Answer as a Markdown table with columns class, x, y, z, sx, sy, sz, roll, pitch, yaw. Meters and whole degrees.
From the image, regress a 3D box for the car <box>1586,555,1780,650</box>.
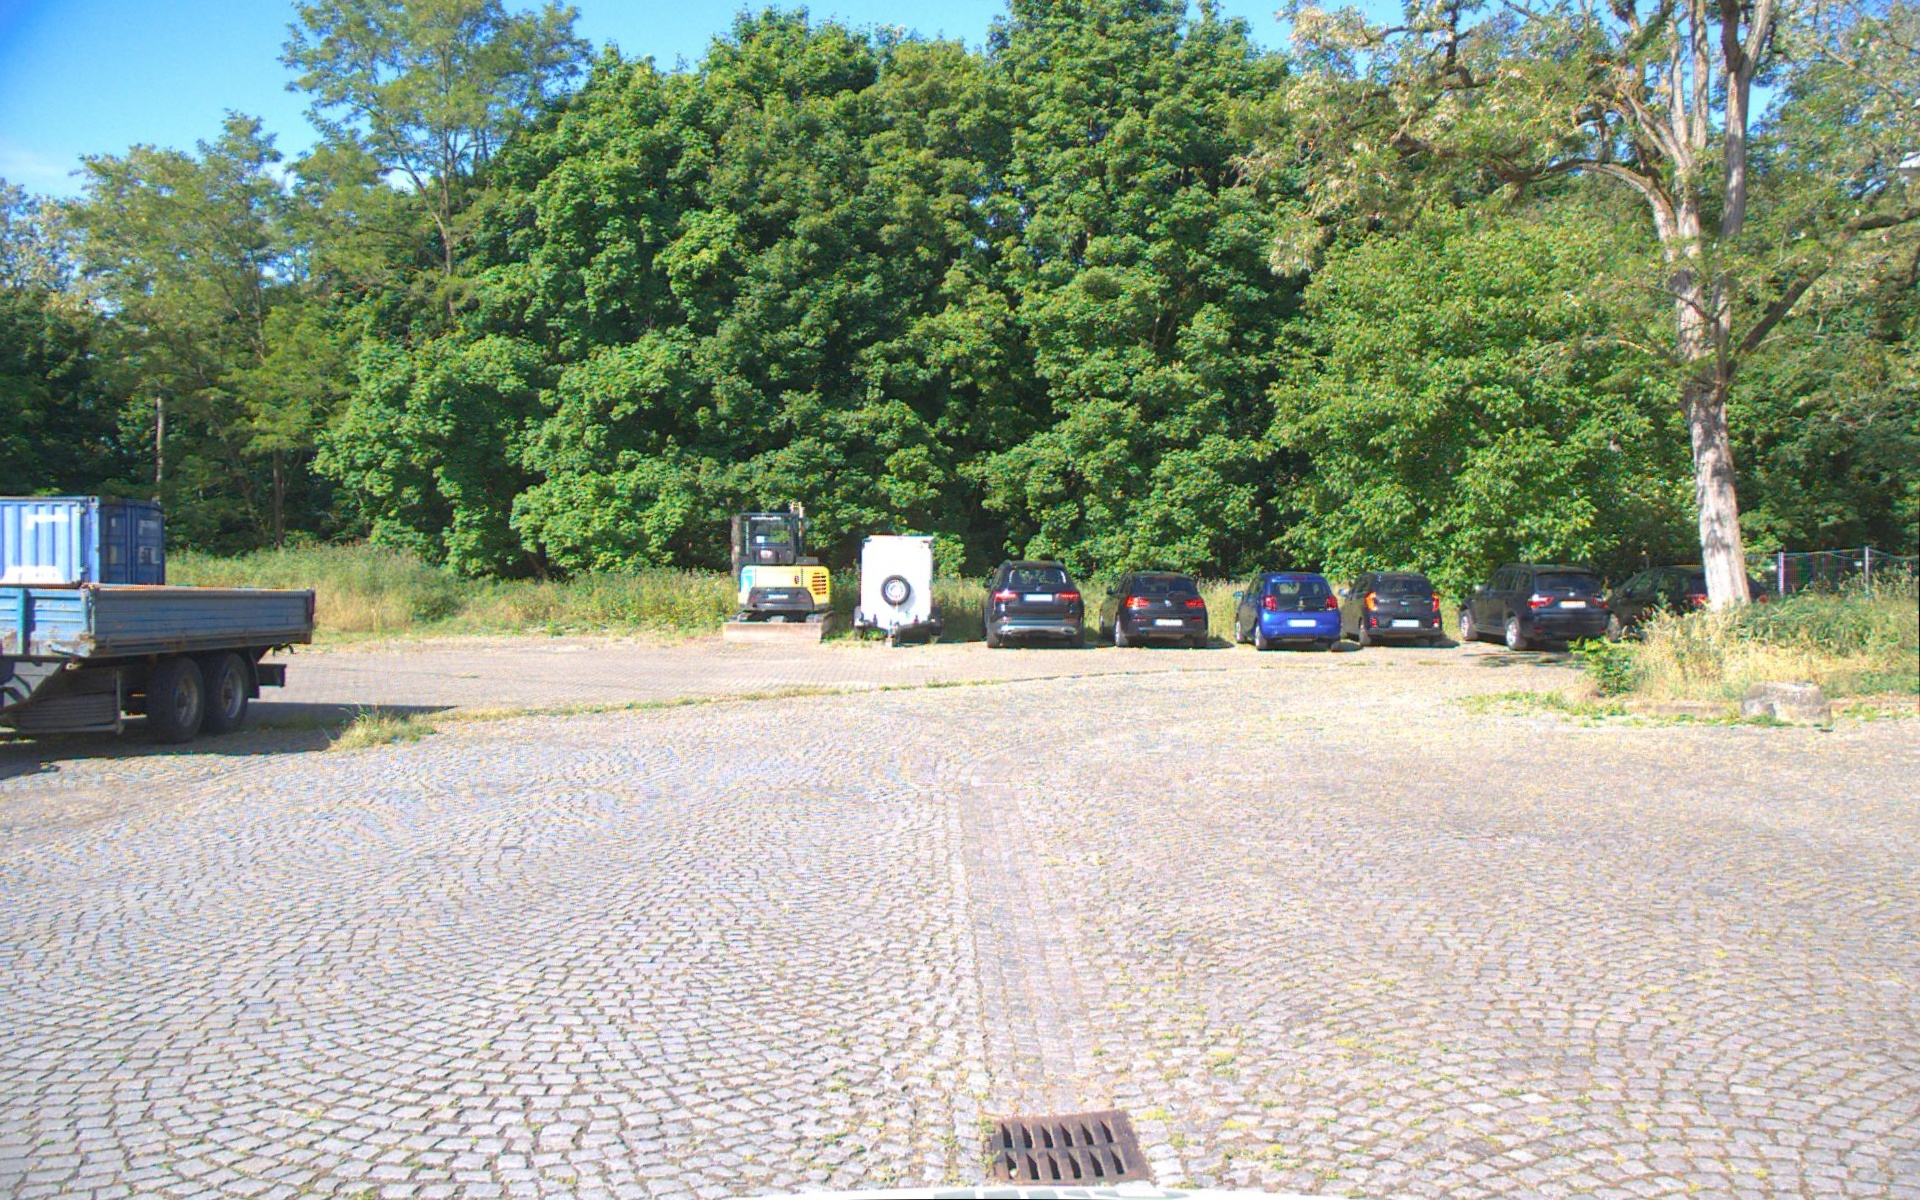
| class | x | y | z | sx | sy | sz | roll | pitch | yaw |
| --- | --- | --- | --- | --- | --- | --- | --- | --- | --- |
| car | 14.735 | -0.004 | 33.979 | 1.788 | 1.616 | 4.270 | -1 | 4 | -5 |

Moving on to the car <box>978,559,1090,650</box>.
| class | x | y | z | sx | sy | sz | roll | pitch | yaw |
| --- | --- | --- | --- | --- | --- | --- | --- | --- | --- |
| car | 1.375 | 0.030 | 32.344 | 1.924 | 1.617 | 4.131 | 1 | 2 | -1 |

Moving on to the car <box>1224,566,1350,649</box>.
| class | x | y | z | sx | sy | sz | roll | pitch | yaw |
| --- | --- | --- | --- | --- | --- | --- | --- | --- | --- |
| car | 6.437 | 0.103 | 32.919 | 1.743 | 1.483 | 3.791 | 1 | 2 | 0 |

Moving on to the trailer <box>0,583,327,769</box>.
| class | x | y | z | sx | sy | sz | roll | pitch | yaw |
| --- | --- | --- | --- | --- | --- | --- | --- | --- | --- |
| trailer | -8.051 | 0.571 | 15.257 | 2.587 | 1.439 | 4.861 | 1 | 0 | -1 |

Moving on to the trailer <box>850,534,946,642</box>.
| class | x | y | z | sx | sy | sz | roll | pitch | yaw |
| --- | --- | --- | --- | --- | --- | --- | --- | --- | --- |
| trailer | -1.222 | -0.273 | 33.609 | 1.781 | 2.086 | 2.851 | 1 | 2 | 0 |

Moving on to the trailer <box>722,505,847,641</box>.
| class | x | y | z | sx | sy | sz | roll | pitch | yaw |
| --- | --- | --- | --- | --- | --- | --- | --- | --- | --- |
| trailer | -3.534 | -0.614 | 33.761 | 2.212 | 2.582 | 2.852 | 1 | 4 | 0 |

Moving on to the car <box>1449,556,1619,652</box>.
| class | x | y | z | sx | sy | sz | roll | pitch | yaw |
| --- | --- | --- | --- | --- | --- | --- | --- | --- | --- |
| car | 11.546 | 0.024 | 33.574 | 1.836 | 1.659 | 4.273 | 1 | 3 | -2 |

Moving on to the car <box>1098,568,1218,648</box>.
| class | x | y | z | sx | sy | sz | roll | pitch | yaw |
| --- | --- | --- | --- | --- | --- | --- | --- | --- | --- |
| car | 3.861 | 0.112 | 32.796 | 1.851 | 1.436 | 3.790 | 1 | 2 | -1 |

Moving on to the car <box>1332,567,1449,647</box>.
| class | x | y | z | sx | sy | sz | roll | pitch | yaw |
| --- | --- | --- | --- | --- | --- | --- | --- | --- | --- |
| car | 8.843 | 0.101 | 34.238 | 1.702 | 1.476 | 3.728 | 1 | 2 | 4 |
